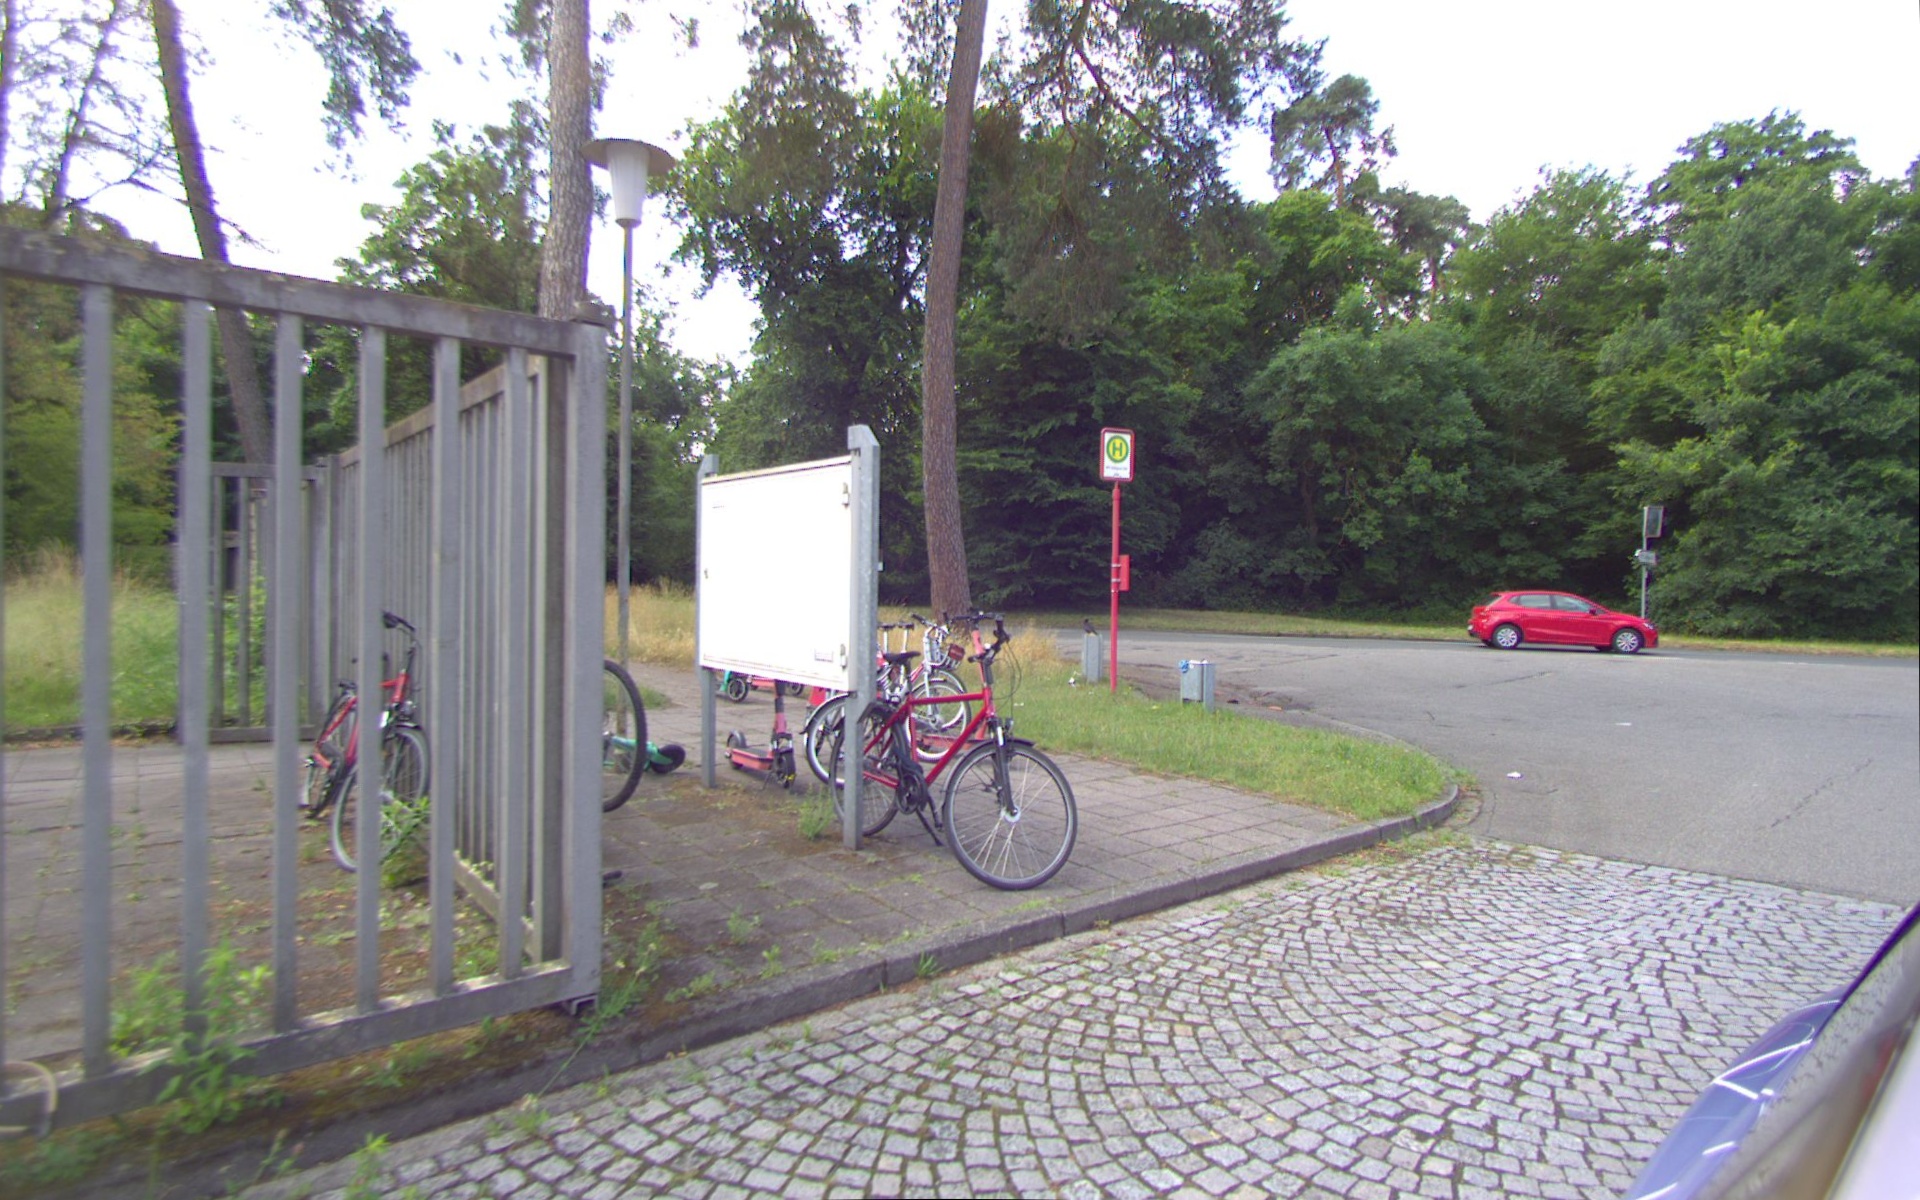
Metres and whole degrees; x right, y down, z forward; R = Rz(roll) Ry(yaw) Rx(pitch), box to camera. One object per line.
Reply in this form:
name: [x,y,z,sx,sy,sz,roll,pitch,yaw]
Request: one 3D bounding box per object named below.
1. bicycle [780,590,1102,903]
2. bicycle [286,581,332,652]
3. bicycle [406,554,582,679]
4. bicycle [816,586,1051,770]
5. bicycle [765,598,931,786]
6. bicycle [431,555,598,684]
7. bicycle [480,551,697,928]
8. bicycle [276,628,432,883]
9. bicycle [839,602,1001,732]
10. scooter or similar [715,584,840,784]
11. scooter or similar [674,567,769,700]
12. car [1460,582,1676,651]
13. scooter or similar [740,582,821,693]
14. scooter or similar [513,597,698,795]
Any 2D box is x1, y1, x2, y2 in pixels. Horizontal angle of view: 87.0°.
bicycle: [-0.165,0.632,5.264,0.662,1.293,1.737,0,3,-43]
bicycle: [-10.398,0.233,16.144,0.367,1.029,1.951,1,1,-40]
bicycle: [-5.755,0.184,12.617,0.574,1.435,1.958,2,1,34]
bicycle: [-0.286,0.551,8.315,0.625,1.255,2.170,-1,3,-44]
bicycle: [-0.882,0.619,7.547,0.610,1.177,1.613,2,1,-29]
bicycle: [-5.315,0.218,12.188,0.585,1.435,1.776,2,0,34]
bicycle: [-1.816,0.489,4.766,0.506,1.434,1.907,-1,3,-34]
bicycle: [-3.188,0.691,5.241,0.449,0.980,1.951,0,2,-38]
bicycle: [-0.435,0.616,10.136,0.728,1.098,1.680,-1,3,-41]
scooter or similar: [-1.325,0.539,7.187,0.379,1.261,1.285,1,2,-33]
scooter or similar: [-2.759,0.356,11.667,0.520,1.435,1.251,3,0,-39]
car: [14.707,0.342,24.785,4.150,1.482,1.988,2,1,20]
scooter or similar: [-2.200,0.432,12.353,0.431,1.243,1.088,-2,4,-45]
scooter or similar: [-2.294,0.569,6.678,0.433,1.165,1.243,1,1,22]
